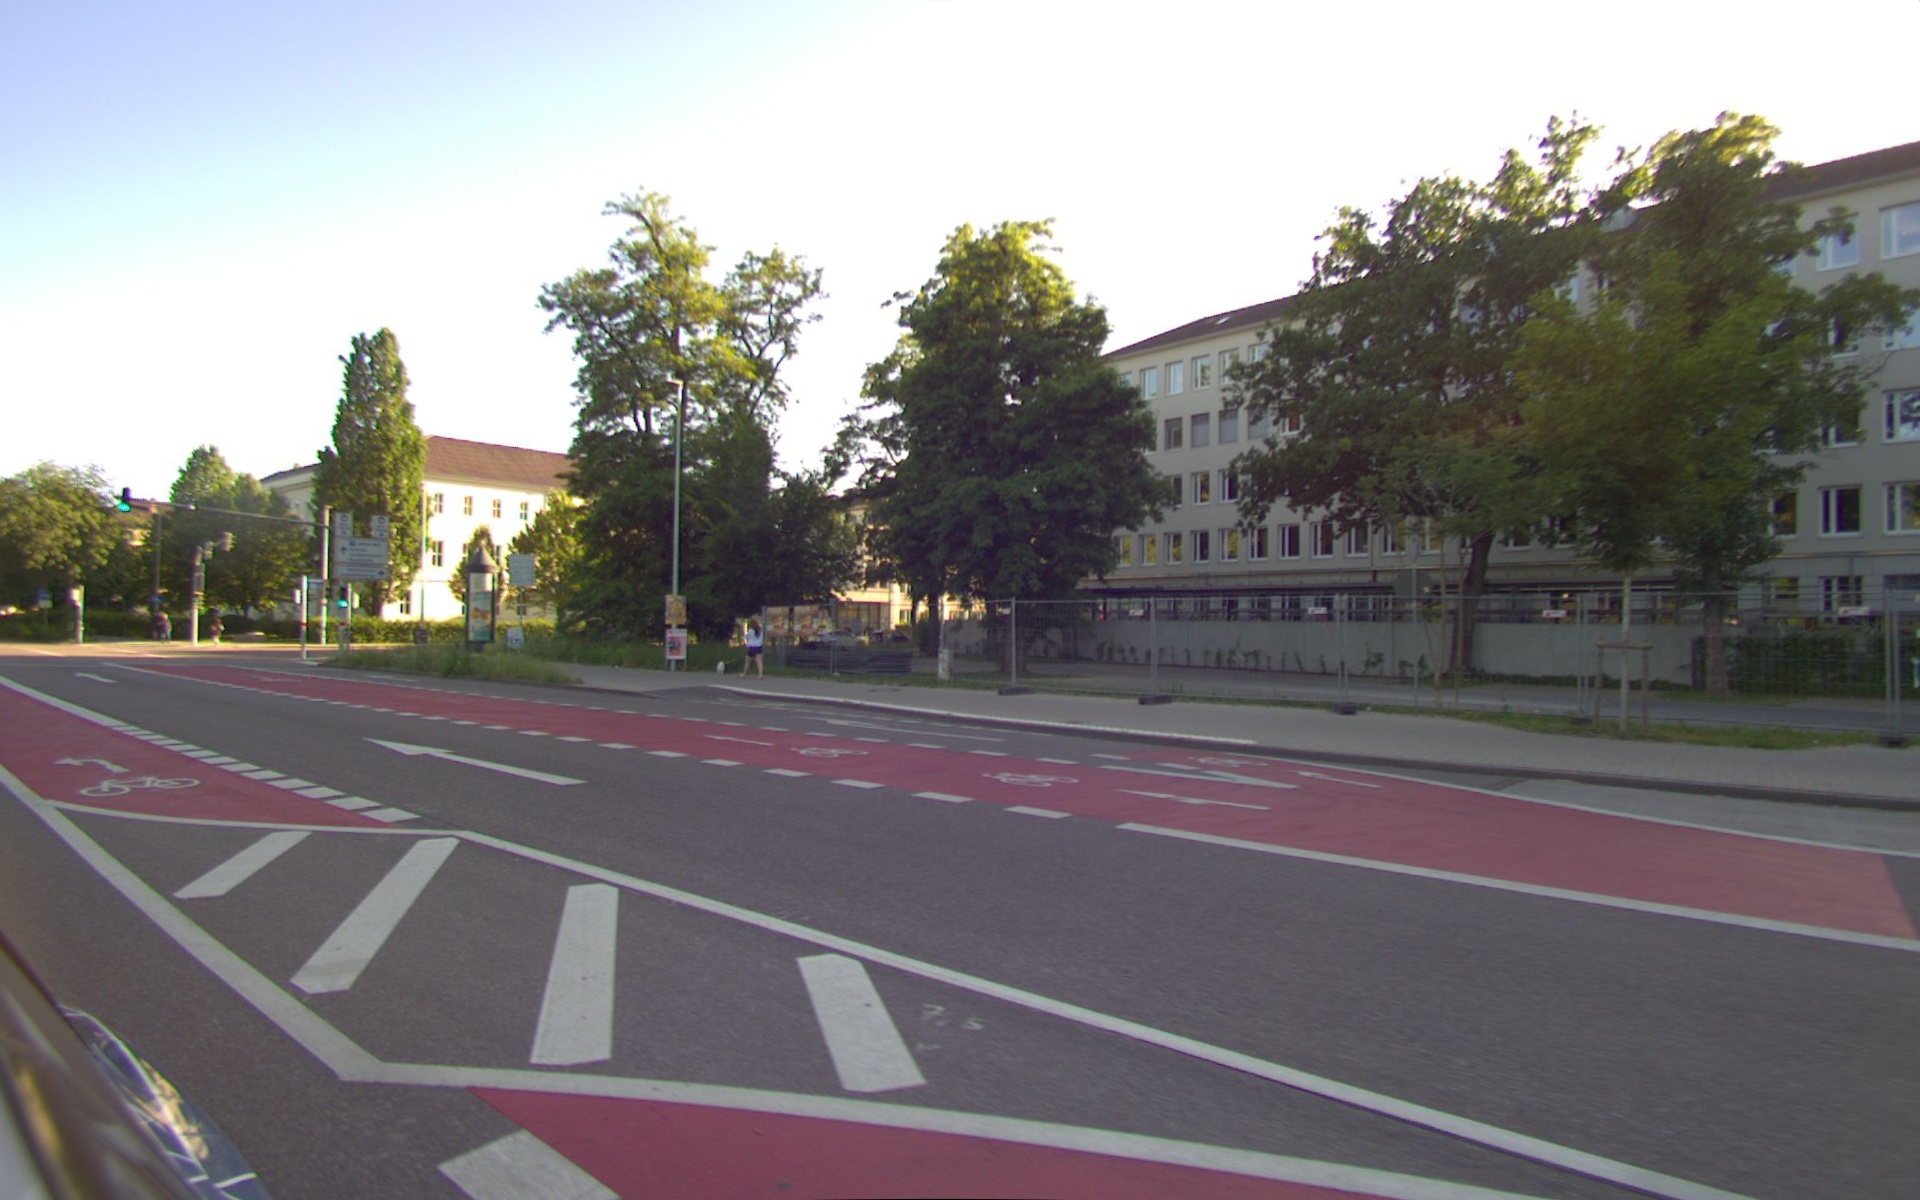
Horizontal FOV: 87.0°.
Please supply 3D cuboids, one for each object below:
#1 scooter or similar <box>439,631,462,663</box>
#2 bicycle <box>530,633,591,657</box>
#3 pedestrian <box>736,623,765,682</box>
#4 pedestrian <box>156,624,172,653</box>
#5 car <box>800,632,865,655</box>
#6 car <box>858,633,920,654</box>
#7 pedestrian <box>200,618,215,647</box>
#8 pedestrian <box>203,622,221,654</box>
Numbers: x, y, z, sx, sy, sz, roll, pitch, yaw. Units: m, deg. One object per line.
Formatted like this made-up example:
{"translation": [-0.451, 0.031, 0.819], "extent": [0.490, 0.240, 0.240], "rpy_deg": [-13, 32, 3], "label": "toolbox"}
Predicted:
{"translation": [-21.267, 1.956, 42.272], "extent": [0.683, 1.304, 1.501], "rpy_deg": [1, -2, -22], "label": "scooter or similar"}
{"translation": [-19.047, 2.144, 48.327], "extent": [0.980, 1.144, 2.542], "rpy_deg": [-1, -3, 43], "label": "bicycle"}
{"translation": [-5.512, 1.378, 26.655], "extent": [0.570, 1.545, 0.447], "rpy_deg": [-1, -2, 35], "label": "pedestrian"}
{"translation": [-47.732, 2.304, 60.699], "extent": [0.681, 1.694, 0.681], "rpy_deg": [2, -3, -43], "label": "pedestrian"}
{"translation": [-9.062, 3.112, 72.056], "extent": [4.195, 1.551, 2.071], "rpy_deg": [2, -3, -44], "label": "car"}
{"translation": [-5.309, 3.253, 76.101], "extent": [4.195, 1.551, 2.239], "rpy_deg": [2, -3, -44], "label": "car"}
{"translation": [-48.611, 2.112, 65.362], "extent": [0.681, 1.830, 0.681], "rpy_deg": [2, -3, -43], "label": "pedestrian"}
{"translation": [-43.381, 2.187, 58.710], "extent": [0.734, 1.830, 0.727], "rpy_deg": [2, -3, -43], "label": "pedestrian"}
